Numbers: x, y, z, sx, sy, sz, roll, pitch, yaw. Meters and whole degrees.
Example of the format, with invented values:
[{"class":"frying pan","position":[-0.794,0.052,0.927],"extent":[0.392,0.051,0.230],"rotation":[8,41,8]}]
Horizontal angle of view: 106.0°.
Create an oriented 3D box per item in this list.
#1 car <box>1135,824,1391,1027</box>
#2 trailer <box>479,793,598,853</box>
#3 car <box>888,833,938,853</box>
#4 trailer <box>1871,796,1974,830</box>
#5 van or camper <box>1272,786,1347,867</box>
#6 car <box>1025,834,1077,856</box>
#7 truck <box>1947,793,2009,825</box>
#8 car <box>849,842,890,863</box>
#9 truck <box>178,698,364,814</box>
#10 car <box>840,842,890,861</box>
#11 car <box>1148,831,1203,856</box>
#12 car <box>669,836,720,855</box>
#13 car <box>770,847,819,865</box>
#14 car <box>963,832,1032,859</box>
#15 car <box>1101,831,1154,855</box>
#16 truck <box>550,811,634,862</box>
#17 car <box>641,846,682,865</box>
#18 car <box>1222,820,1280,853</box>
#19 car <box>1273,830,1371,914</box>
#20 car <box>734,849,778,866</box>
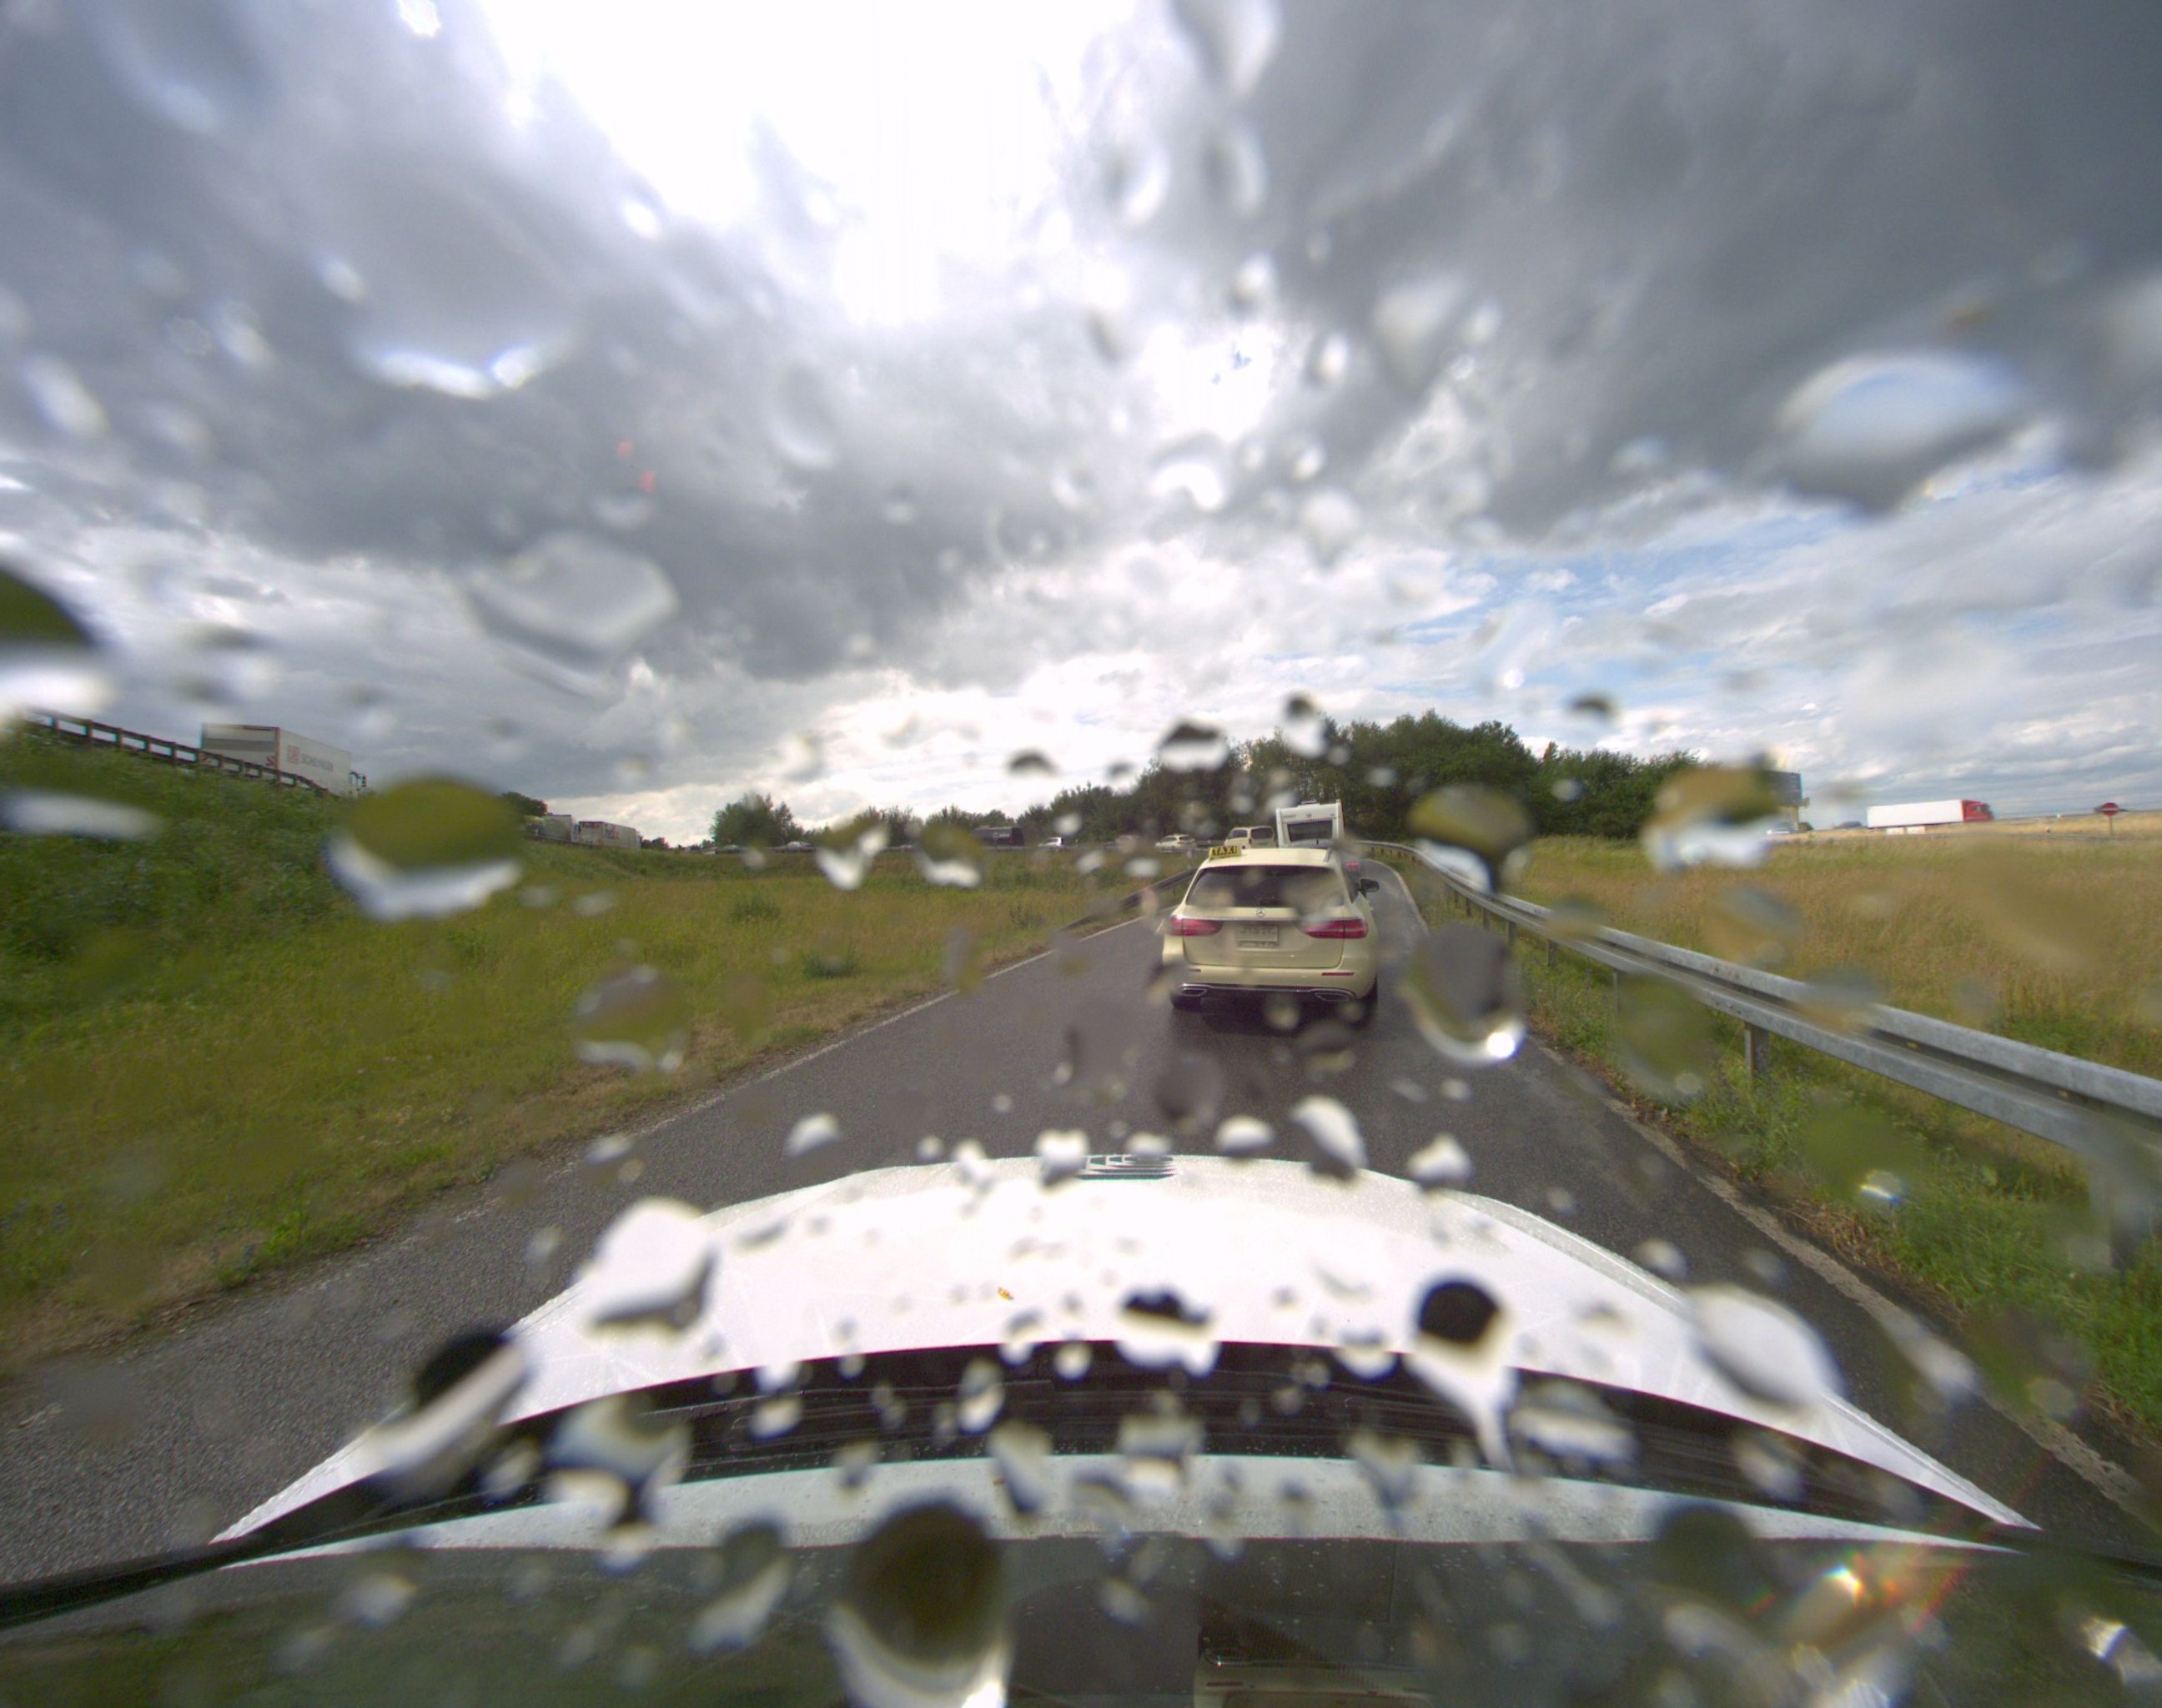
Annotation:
[{"class":"car","position":[2.098,0.567,8.532],"extent":[1.900,1.507,4.617],"rotation":[-2,-1,18]},{"class":"trailer","position":[-52.191,-2.705,79.519],"extent":[4.426,3.956,20.087],"rotation":[-1,-3,-18]},{"class":"car","position":[-18.461,-1.219,89.274],"extent":[4.997,1.861,2.011],"rotation":[-3,-1,21]},{"class":"trailer","position":[101.203,-4.802,98.081],"extent":[3.204,3.211,8.113],"rotation":[0,-4,-35]},{"class":"van or camper","position":[8.813,-0.910,30.994],"extent":[2.411,2.729,6.029],"rotation":[-1,-1,18]},{"class":"car","position":[-3.002,-0.920,80.547],"extent":[4.991,1.861,2.013],"rotation":[-4,-1,39]},{"class":"truck","position":[103.809,-5.187,94.285],"extent":[3.214,3.135,4.246],"rotation":[0,-4,-35]},{"class":"car","position":[-23.849,-0.196,91.760],"extent":[3.950,2.012,2.014],"rotation":[0,9,27]},{"class":"truck","position":[-38.713,-4.426,39.487],"extent":[3.194,3.967,9.162],"rotation":[-1,-3,-23]},{"class":"car","position":[-24.404,-0.308,91.885],"extent":[5.004,1.861,2.008],"rotation":[-3,-1,14]},{"class":"car","position":[7.385,-0.768,64.229],"extent":[2.002,1.861,5.018],"rotation":[-1,0,-24]},{"class":"car","position":[-46.034,-1.004,97.084],"extent":[5.020,1.861,2.001],"rotation":[-3,-1,2]},{"class":"car","position":[-33.240,0.219,94.621],"extent":[5.004,1.861,2.008],"rotation":[-3,-1,14]},{"class":"car","position":[-8.768,-0.867,85.362],"extent":[6.893,2.595,2.894],"rotation":[-2,0,36]},{"class":"car","position":[4.075,-0.962,72.209],"extent":[2.009,1.861,5.002],"rotation":[-2,-1,-35]},{"class":"truck","position":[-58.262,-1.839,97.856],"extent":[4.473,4.504,19.250],"rotation":[-1,-3,-18]},{"class":"car","position":[-47.936,0.169,93.175],"extent":[4.005,2.014,1.812],"rotation":[-1,-3,-24]},{"class":"car","position":[11.080,-1.091,53.555],"extent":[1.993,1.861,5.040],"rotation":[-3,-1,-9]},{"class":"car","position":[5.170,0.337,17.138],"extent":[1.704,1.525,4.020],"rotation":[-2,0,20]},{"class":"car","position":[-39.720,0.472,99.463],"extent":[4.472,1.861,2.004],"rotation":[-3,-1,7]}]
